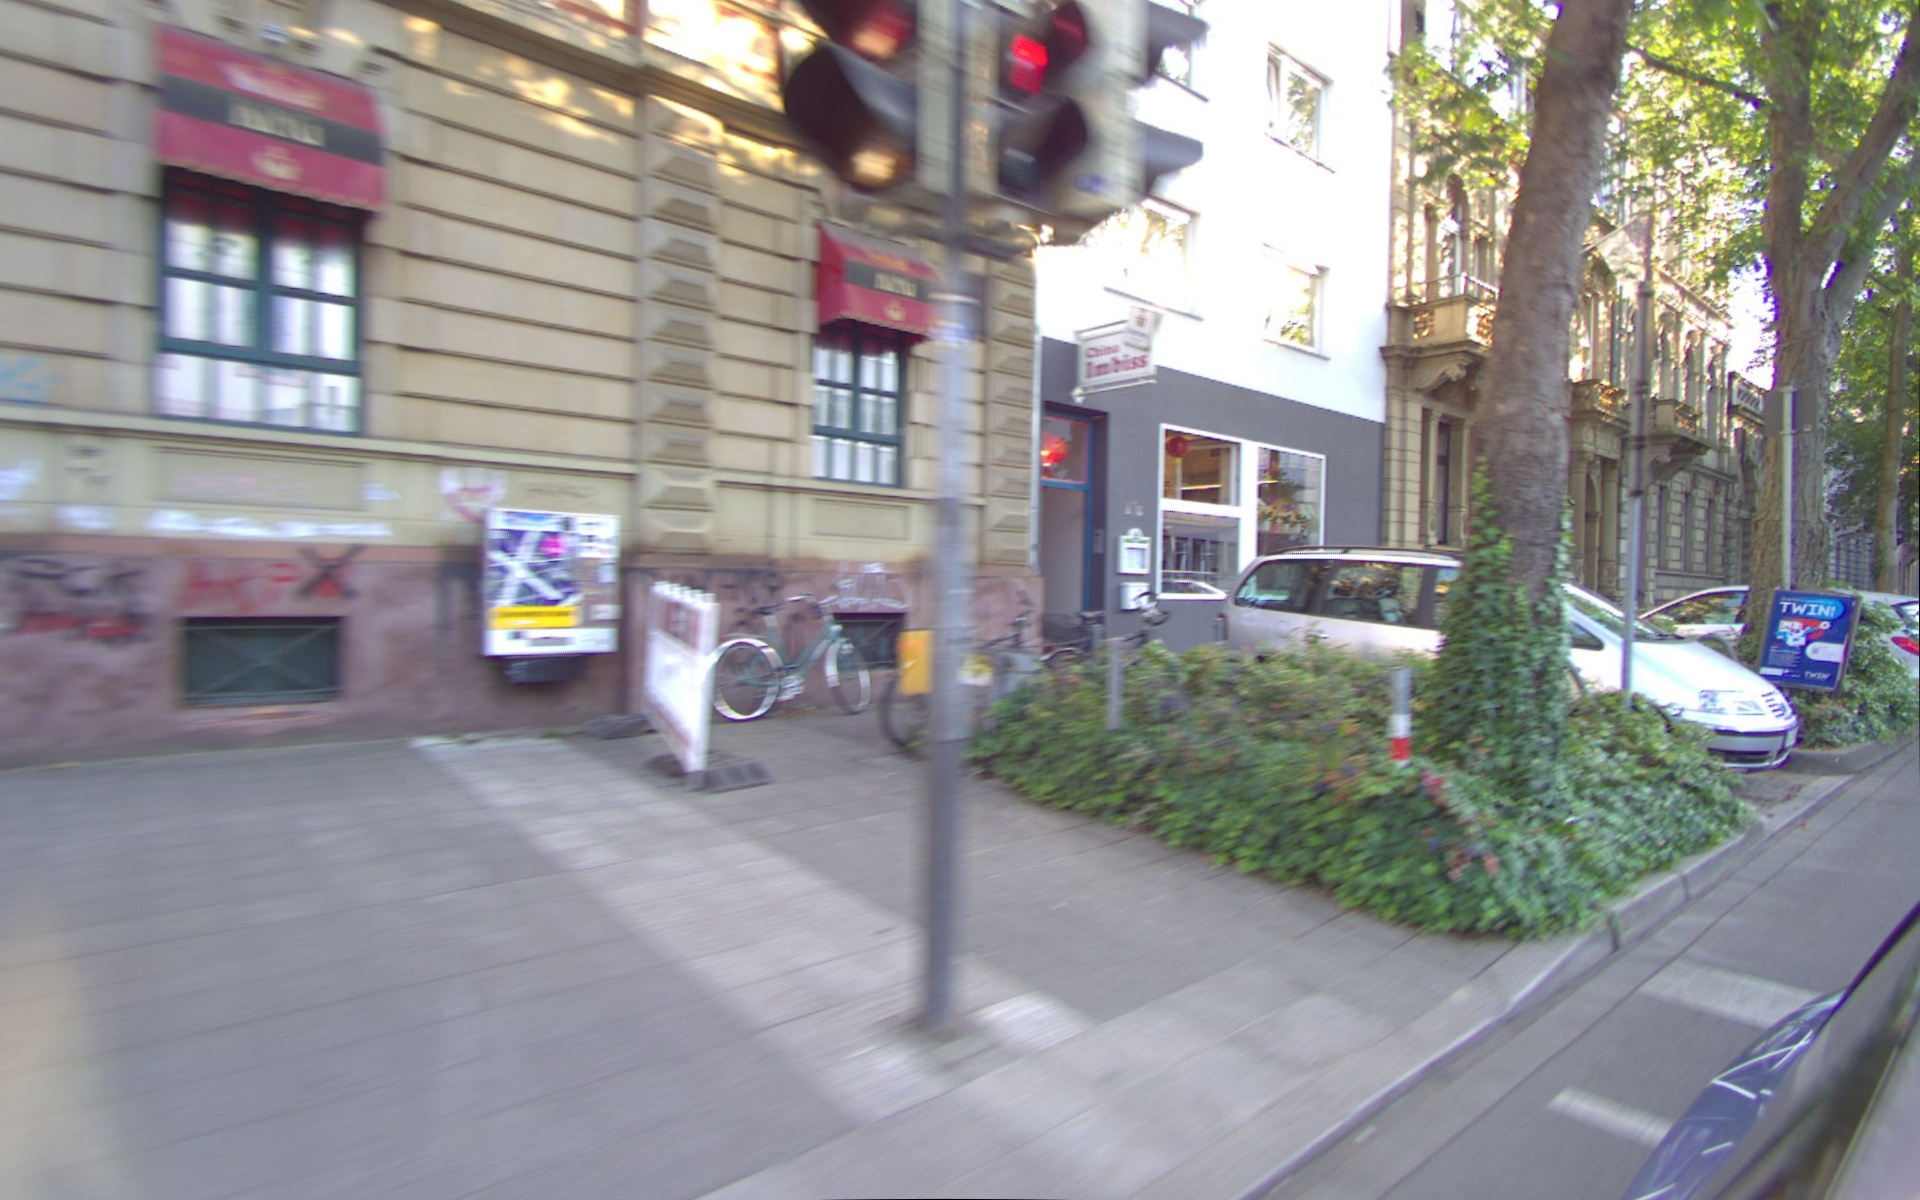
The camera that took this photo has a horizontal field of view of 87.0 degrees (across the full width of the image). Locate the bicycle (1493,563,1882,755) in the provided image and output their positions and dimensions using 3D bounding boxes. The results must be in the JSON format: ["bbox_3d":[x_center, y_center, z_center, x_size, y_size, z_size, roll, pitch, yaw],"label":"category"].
[{"bbox_3d":[7.167,0.490,10.208,0.647,1.684,3.115,1,0,-44],"label":"bicycle"}]

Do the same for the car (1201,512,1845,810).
[{"bbox_3d":[4.624,0.297,8.906,1.917,1.938,4.547,0,2,-42],"label":"car"}]

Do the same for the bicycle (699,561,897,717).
[{"bbox_3d":[-1.351,0.304,8.659,1.694,1.226,0.386,0,2,-39],"label":"bicycle"}]

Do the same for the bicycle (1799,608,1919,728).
[{"bbox_3d":[10.164,0.732,11.128,0.480,1.219,1.340,1,2,-41],"label":"bicycle"}]

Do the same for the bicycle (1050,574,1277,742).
[{"bbox_3d":[1.748,0.432,8.477,2.120,1.254,0.582,0,1,-37],"label":"bicycle"}]

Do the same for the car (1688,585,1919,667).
[{"bbox_3d":[17.812,0.486,20.528,1.890,1.455,4.596,1,2,-38],"label":"car"}]

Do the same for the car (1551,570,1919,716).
[{"bbox_3d":[10.567,0.465,13.451,1.934,1.579,4.238,1,2,-37],"label":"car"}]

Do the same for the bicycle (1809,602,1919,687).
[{"bbox_3d":[14.672,0.710,15.842,2.016,1.218,0.482,4,3,38],"label":"bicycle"}]

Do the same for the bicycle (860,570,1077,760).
[{"bbox_3d":[0.100,0.424,7.357,1.694,1.250,0.386,0,2,-39],"label":"bicycle"}]

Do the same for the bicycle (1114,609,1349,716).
[{"bbox_3d":[2.159,0.430,7.821,2.289,0.673,0.582,-1,1,-41],"label":"bicycle"}]

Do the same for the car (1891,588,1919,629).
[{"bbox_3d":[37.206,0.442,37.138,1.822,1.499,4.235,0,4,-40],"label":"car"}]
